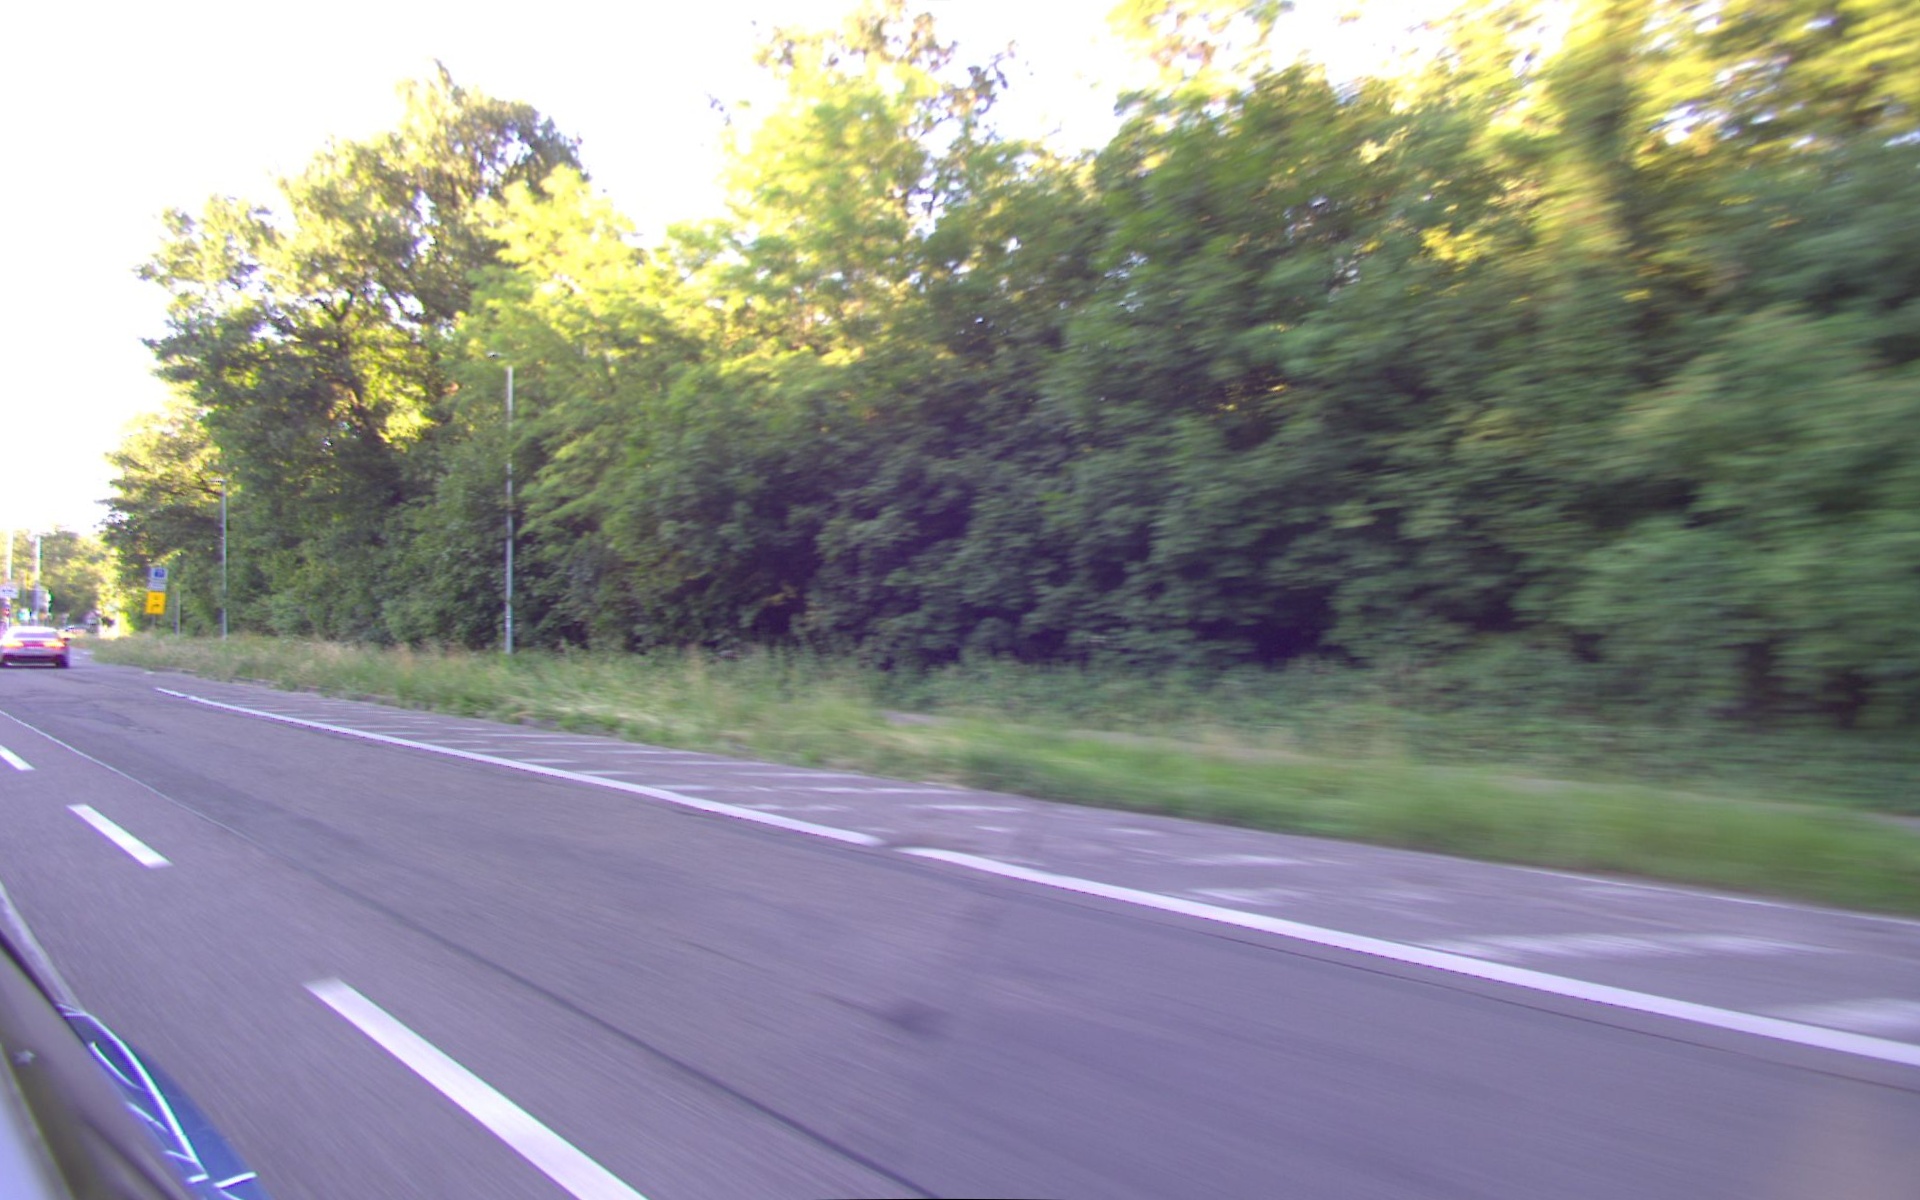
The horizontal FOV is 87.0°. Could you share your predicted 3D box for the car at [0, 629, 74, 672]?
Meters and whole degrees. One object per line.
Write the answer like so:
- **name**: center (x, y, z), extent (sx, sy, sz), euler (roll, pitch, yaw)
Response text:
- **car**: center (-33.372, 1.852, 36.224), extent (4.466, 1.446, 2.040), euler (-4, -5, 43)
